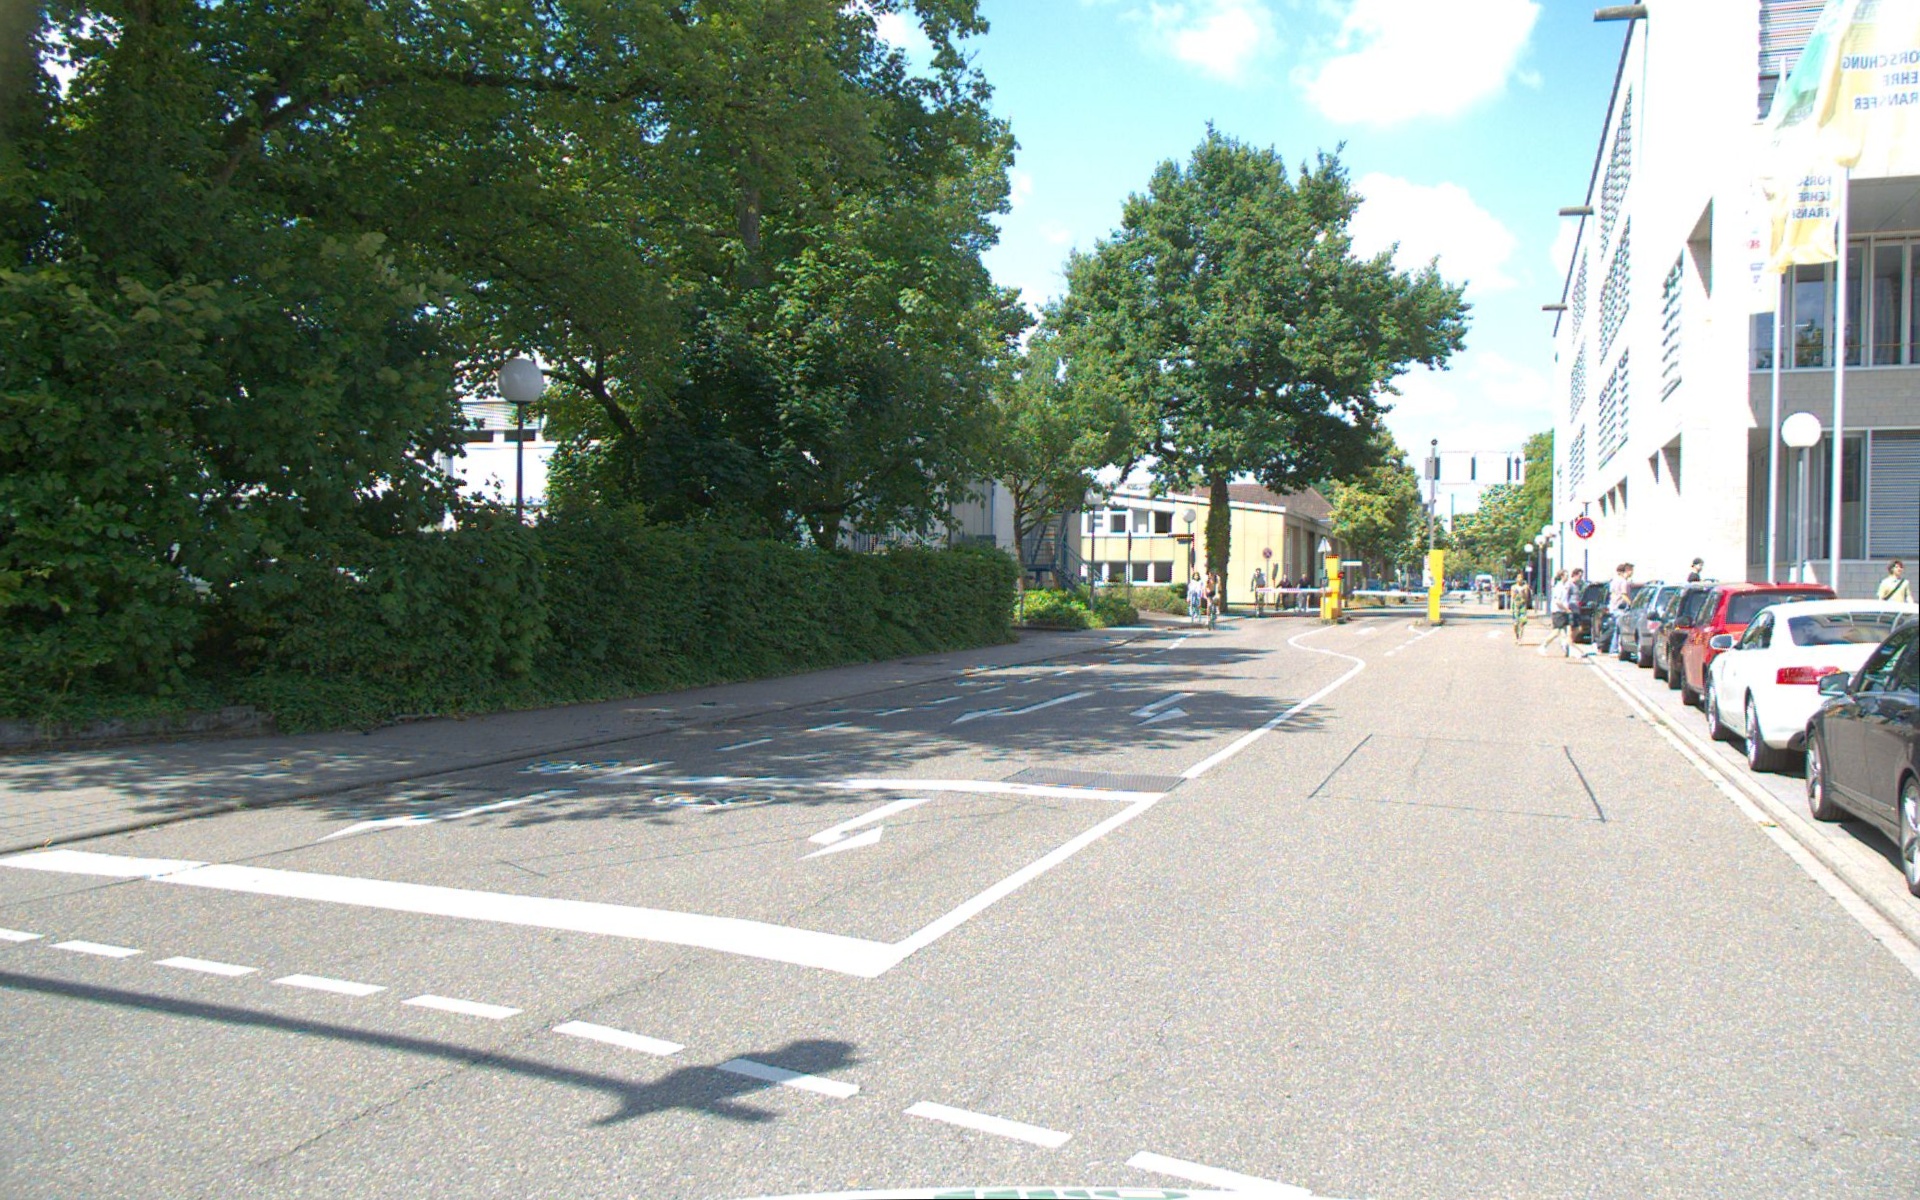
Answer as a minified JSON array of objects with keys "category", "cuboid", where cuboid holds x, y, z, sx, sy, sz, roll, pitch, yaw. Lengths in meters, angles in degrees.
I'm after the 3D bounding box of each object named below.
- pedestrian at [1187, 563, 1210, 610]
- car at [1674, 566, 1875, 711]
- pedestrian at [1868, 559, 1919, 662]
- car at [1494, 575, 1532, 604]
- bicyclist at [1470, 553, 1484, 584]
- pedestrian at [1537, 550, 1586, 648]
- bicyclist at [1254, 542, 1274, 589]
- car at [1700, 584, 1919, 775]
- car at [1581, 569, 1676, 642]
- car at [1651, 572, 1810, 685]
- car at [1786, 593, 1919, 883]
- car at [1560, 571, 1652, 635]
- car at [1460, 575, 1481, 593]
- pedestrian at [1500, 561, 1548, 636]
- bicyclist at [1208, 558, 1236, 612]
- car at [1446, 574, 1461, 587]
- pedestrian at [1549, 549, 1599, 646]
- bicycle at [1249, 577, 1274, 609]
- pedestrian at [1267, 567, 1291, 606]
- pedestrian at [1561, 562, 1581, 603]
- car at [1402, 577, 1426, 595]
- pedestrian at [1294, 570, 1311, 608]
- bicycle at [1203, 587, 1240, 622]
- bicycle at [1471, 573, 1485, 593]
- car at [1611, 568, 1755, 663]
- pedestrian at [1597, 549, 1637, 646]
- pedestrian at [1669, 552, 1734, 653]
[{"category":"pedestrian","cuboid":[8.553,-0.481,59.264,0.698,1.655,0.884,0,1,17]},{"category":"car","cuboid":[9.607,0.386,19.778,1.580,1.522,4.149,-2,0,19]},{"category":"pedestrian","cuboid":[16.541,0.179,29.019,0.898,1.770,1.002,0,1,18]},{"category":"car","cuboid":[31.104,-0.597,93.072,1.952,1.572,4.214,0,1,18]},{"category":"bicyclist","cuboid":[37.778,-2.294,120.929,0.966,2.169,1.037,0,-1,17]},{"category":"pedestrian","cuboid":[12.144,-0.031,33.379,0.771,1.959,0.590,0,1,40]},{"category":"bicyclist","cuboid":[11.675,-1.325,63.532,0.678,1.767,0.919,0,0,17]},{"category":"car","cuboid":[7.879,0.606,14.911,1.682,1.424,4.441,-2,0,18]},{"category":"car","cuboid":[14.779,0.089,36.720,1.580,1.523,4.009,0,1,16]},{"category":"car","cuboid":[11.441,0.367,24.779,1.683,1.556,4.002,0,1,18]},{"category":"car","cuboid":[6.102,0.692,9.486,1.682,1.424,4.951,-2,0,18]},{"category":"car","cuboid":[15.947,0.037,40.991,1.827,1.490,4.523,0,1,18]},{"category":"car","cuboid":[53.878,-1.694,174.614,1.952,1.750,4.000,0,-1,20]},{"category":"pedestrian","cuboid":[13.328,-0.041,39.113,0.612,1.747,1.036,0,0,-14]},{"category":"bicyclist","cuboid":[7.766,-0.446,48.987,0.678,1.575,1.019,0,0,17]},{"category":"car","cuboid":[74.460,-2.930,249.475,1.952,1.750,4.000,0,-1,20]},{"category":"pedestrian","cuboid":[12.594,-0.057,33.927,0.770,1.959,0.730,0,1,40]},{"category":"bicycle","cuboid":[11.617,-0.269,63.669,0.678,1.191,2.211,0,0,17]},{"category":"pedestrian","cuboid":[15.521,-0.663,80.489,1.034,1.847,0.807,0,1,17]},{"category":"pedestrian","cuboid":[27.663,-0.800,74.881,0.750,1.811,0.911,-1,1,16]},{"category":"car","cuboid":[41.224,-1.260,150.145,1.952,1.572,4.214,0,1,18]},{"category":"pedestrian","cuboid":[16.423,-0.531,79.317,0.690,1.840,1.002,0,1,17]},{"category":"bicycle","cuboid":[7.736,0.132,48.914,0.776,1.006,2.211,0,0,17]},{"category":"bicycle","cuboid":[37.835,-1.219,120.925,0.966,1.339,2.965,0,-1,17]},{"category":"car","cuboid":[13.058,0.233,30.129,1.682,1.556,4.570,-2,0,15]},{"category":"pedestrian","cuboid":[13.472,-0.063,33.894,0.709,1.959,0.750,0,1,26]},{"category":"pedestrian","cuboid":[14.624,0.038,32.635,1.072,1.953,1.021,0,1,19]}]
